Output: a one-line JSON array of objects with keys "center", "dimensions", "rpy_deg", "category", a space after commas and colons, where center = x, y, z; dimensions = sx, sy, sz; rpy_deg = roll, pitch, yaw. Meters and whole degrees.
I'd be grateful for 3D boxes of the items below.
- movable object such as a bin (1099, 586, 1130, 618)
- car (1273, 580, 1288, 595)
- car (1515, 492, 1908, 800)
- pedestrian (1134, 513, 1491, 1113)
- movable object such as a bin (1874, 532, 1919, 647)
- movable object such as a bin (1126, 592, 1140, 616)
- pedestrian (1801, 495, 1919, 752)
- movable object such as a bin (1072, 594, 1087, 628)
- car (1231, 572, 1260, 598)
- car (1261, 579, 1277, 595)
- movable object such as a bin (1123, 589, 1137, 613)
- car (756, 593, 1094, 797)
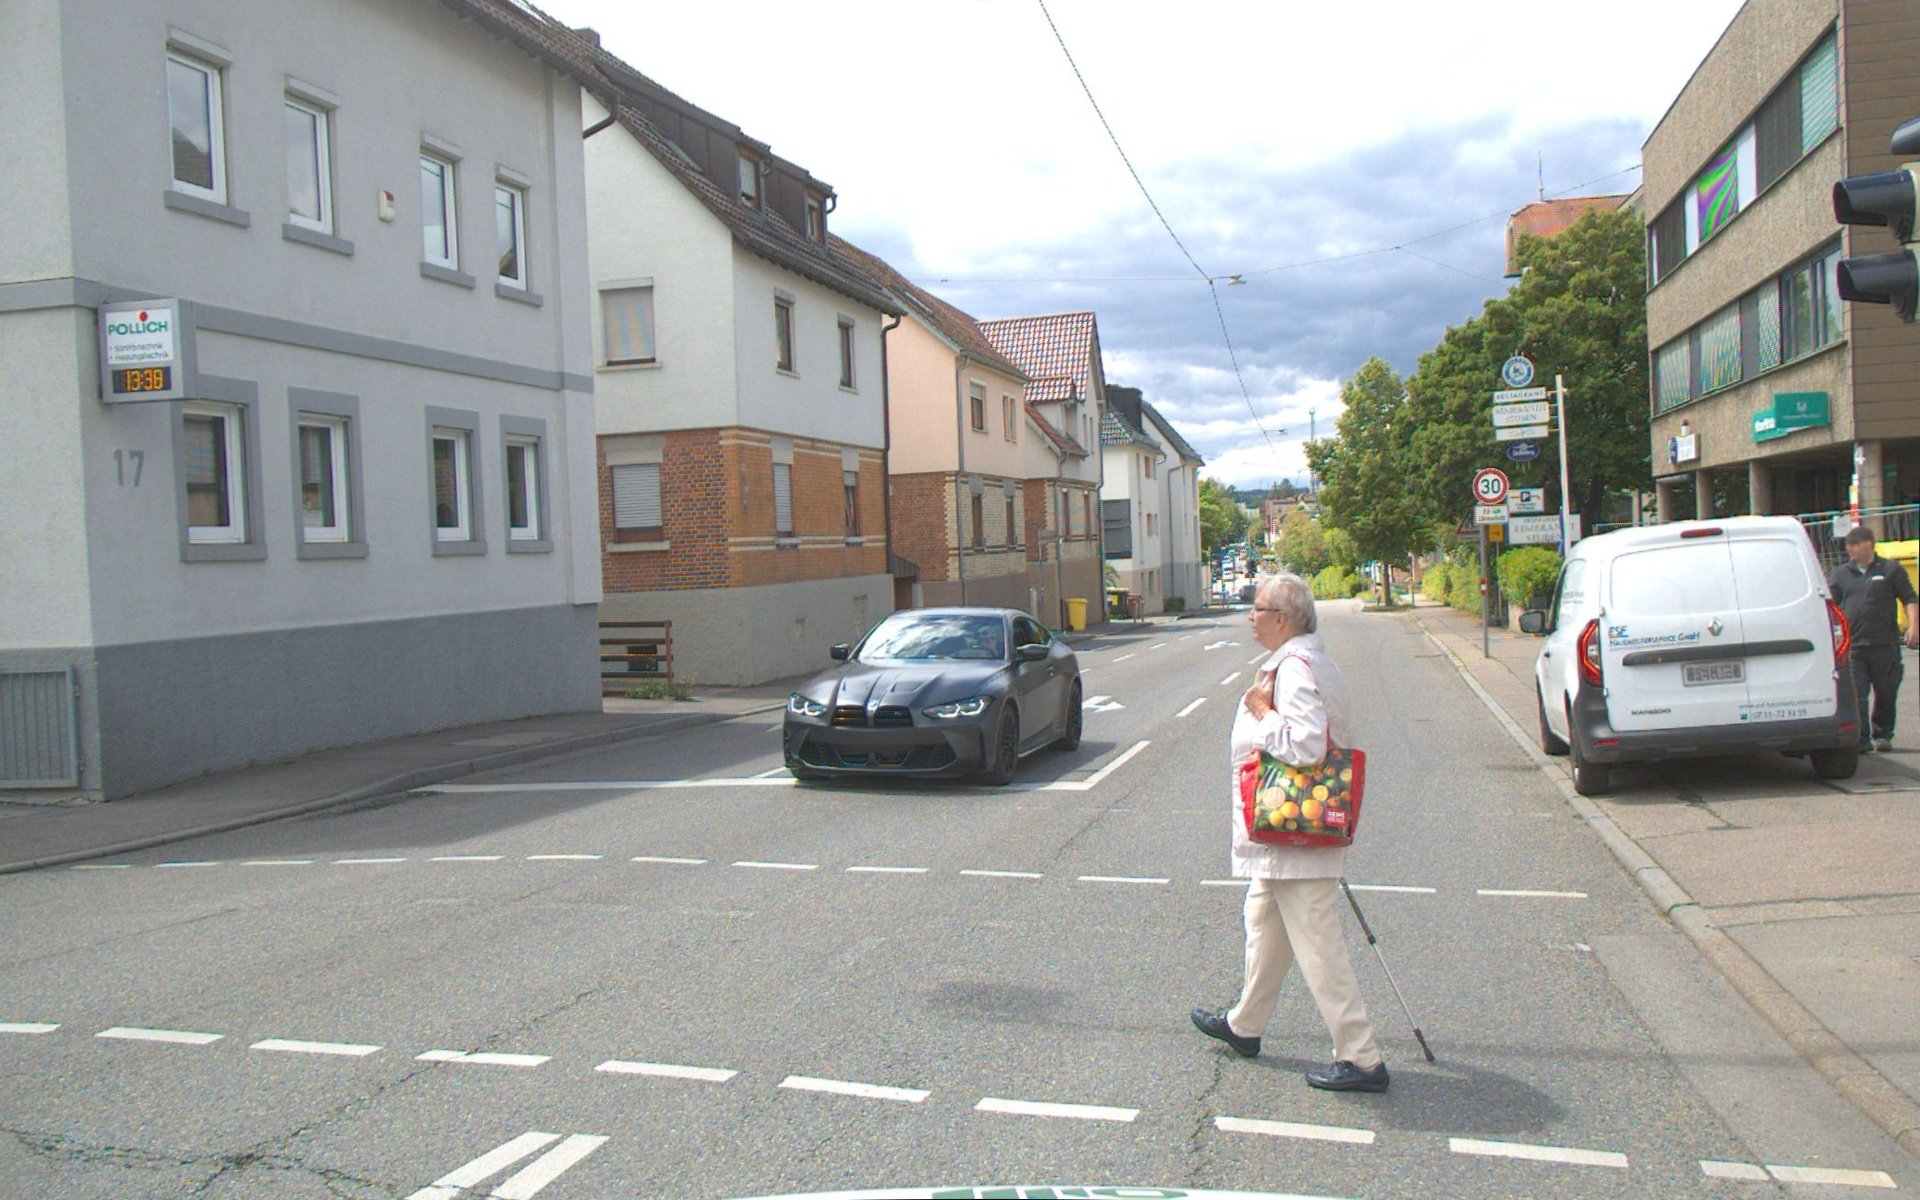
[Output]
[{"center": [6.749, 0.072, 72.416], "dimensions": [1.254, 1.332, 0.817], "rpy_deg": [-2, 0, 8], "category": "movable object such as a bin"}, {"center": [46.005, -1.767, 237.612], "dimensions": [1.951, 2.049, 4.003], "rpy_deg": [-3, -1, 10], "category": "car"}, {"center": [5.532, 0.305, 12.811], "dimensions": [1.871, 1.825, 4.494], "rpy_deg": [-5, -1, 14], "category": "car"}, {"center": [1.120, 0.598, 5.151], "dimensions": [0.853, 1.666, 0.836], "rpy_deg": [-3, 0, 25], "category": "pedestrian"}, {"center": [13.588, -0.183, 22.846], "dimensions": [1.451, 1.518, 1.077], "rpy_deg": [-3, 2, 17], "category": "movable object such as a bin"}, {"center": [7.682, 0.171, 73.283], "dimensions": [0.520, 1.048, 0.455], "rpy_deg": [-2, 0, 12], "category": "movable object such as a bin"}, {"center": [6.878, 0.165, 12.361], "dimensions": [0.825, 1.834, 0.651], "rpy_deg": [-3, 0, 14], "category": "pedestrian"}, {"center": [4.095, 0.382, 56.509], "dimensions": [0.422, 1.147, 0.299], "rpy_deg": [-3, 0, 13], "category": "movable object such as a bin"}, {"center": [23.654, -1.208, 137.003], "dimensions": [1.951, 2.049, 4.002], "rpy_deg": [-2, 0, 5], "category": "car"}, {"center": [41.566, -1.698, 222.388], "dimensions": [1.951, 2.049, 4.003], "rpy_deg": [-3, -1, 10], "category": "car"}, {"center": [7.565, 0.056, 73.651], "dimensions": [0.520, 1.048, 0.455], "rpy_deg": [-2, 0, 12], "category": "movable object such as a bin"}, {"center": [-0.110, 0.711, 14.974], "dimensions": [1.951, 1.482, 4.621], "rpy_deg": [0, 1, 13], "category": "car"}]
